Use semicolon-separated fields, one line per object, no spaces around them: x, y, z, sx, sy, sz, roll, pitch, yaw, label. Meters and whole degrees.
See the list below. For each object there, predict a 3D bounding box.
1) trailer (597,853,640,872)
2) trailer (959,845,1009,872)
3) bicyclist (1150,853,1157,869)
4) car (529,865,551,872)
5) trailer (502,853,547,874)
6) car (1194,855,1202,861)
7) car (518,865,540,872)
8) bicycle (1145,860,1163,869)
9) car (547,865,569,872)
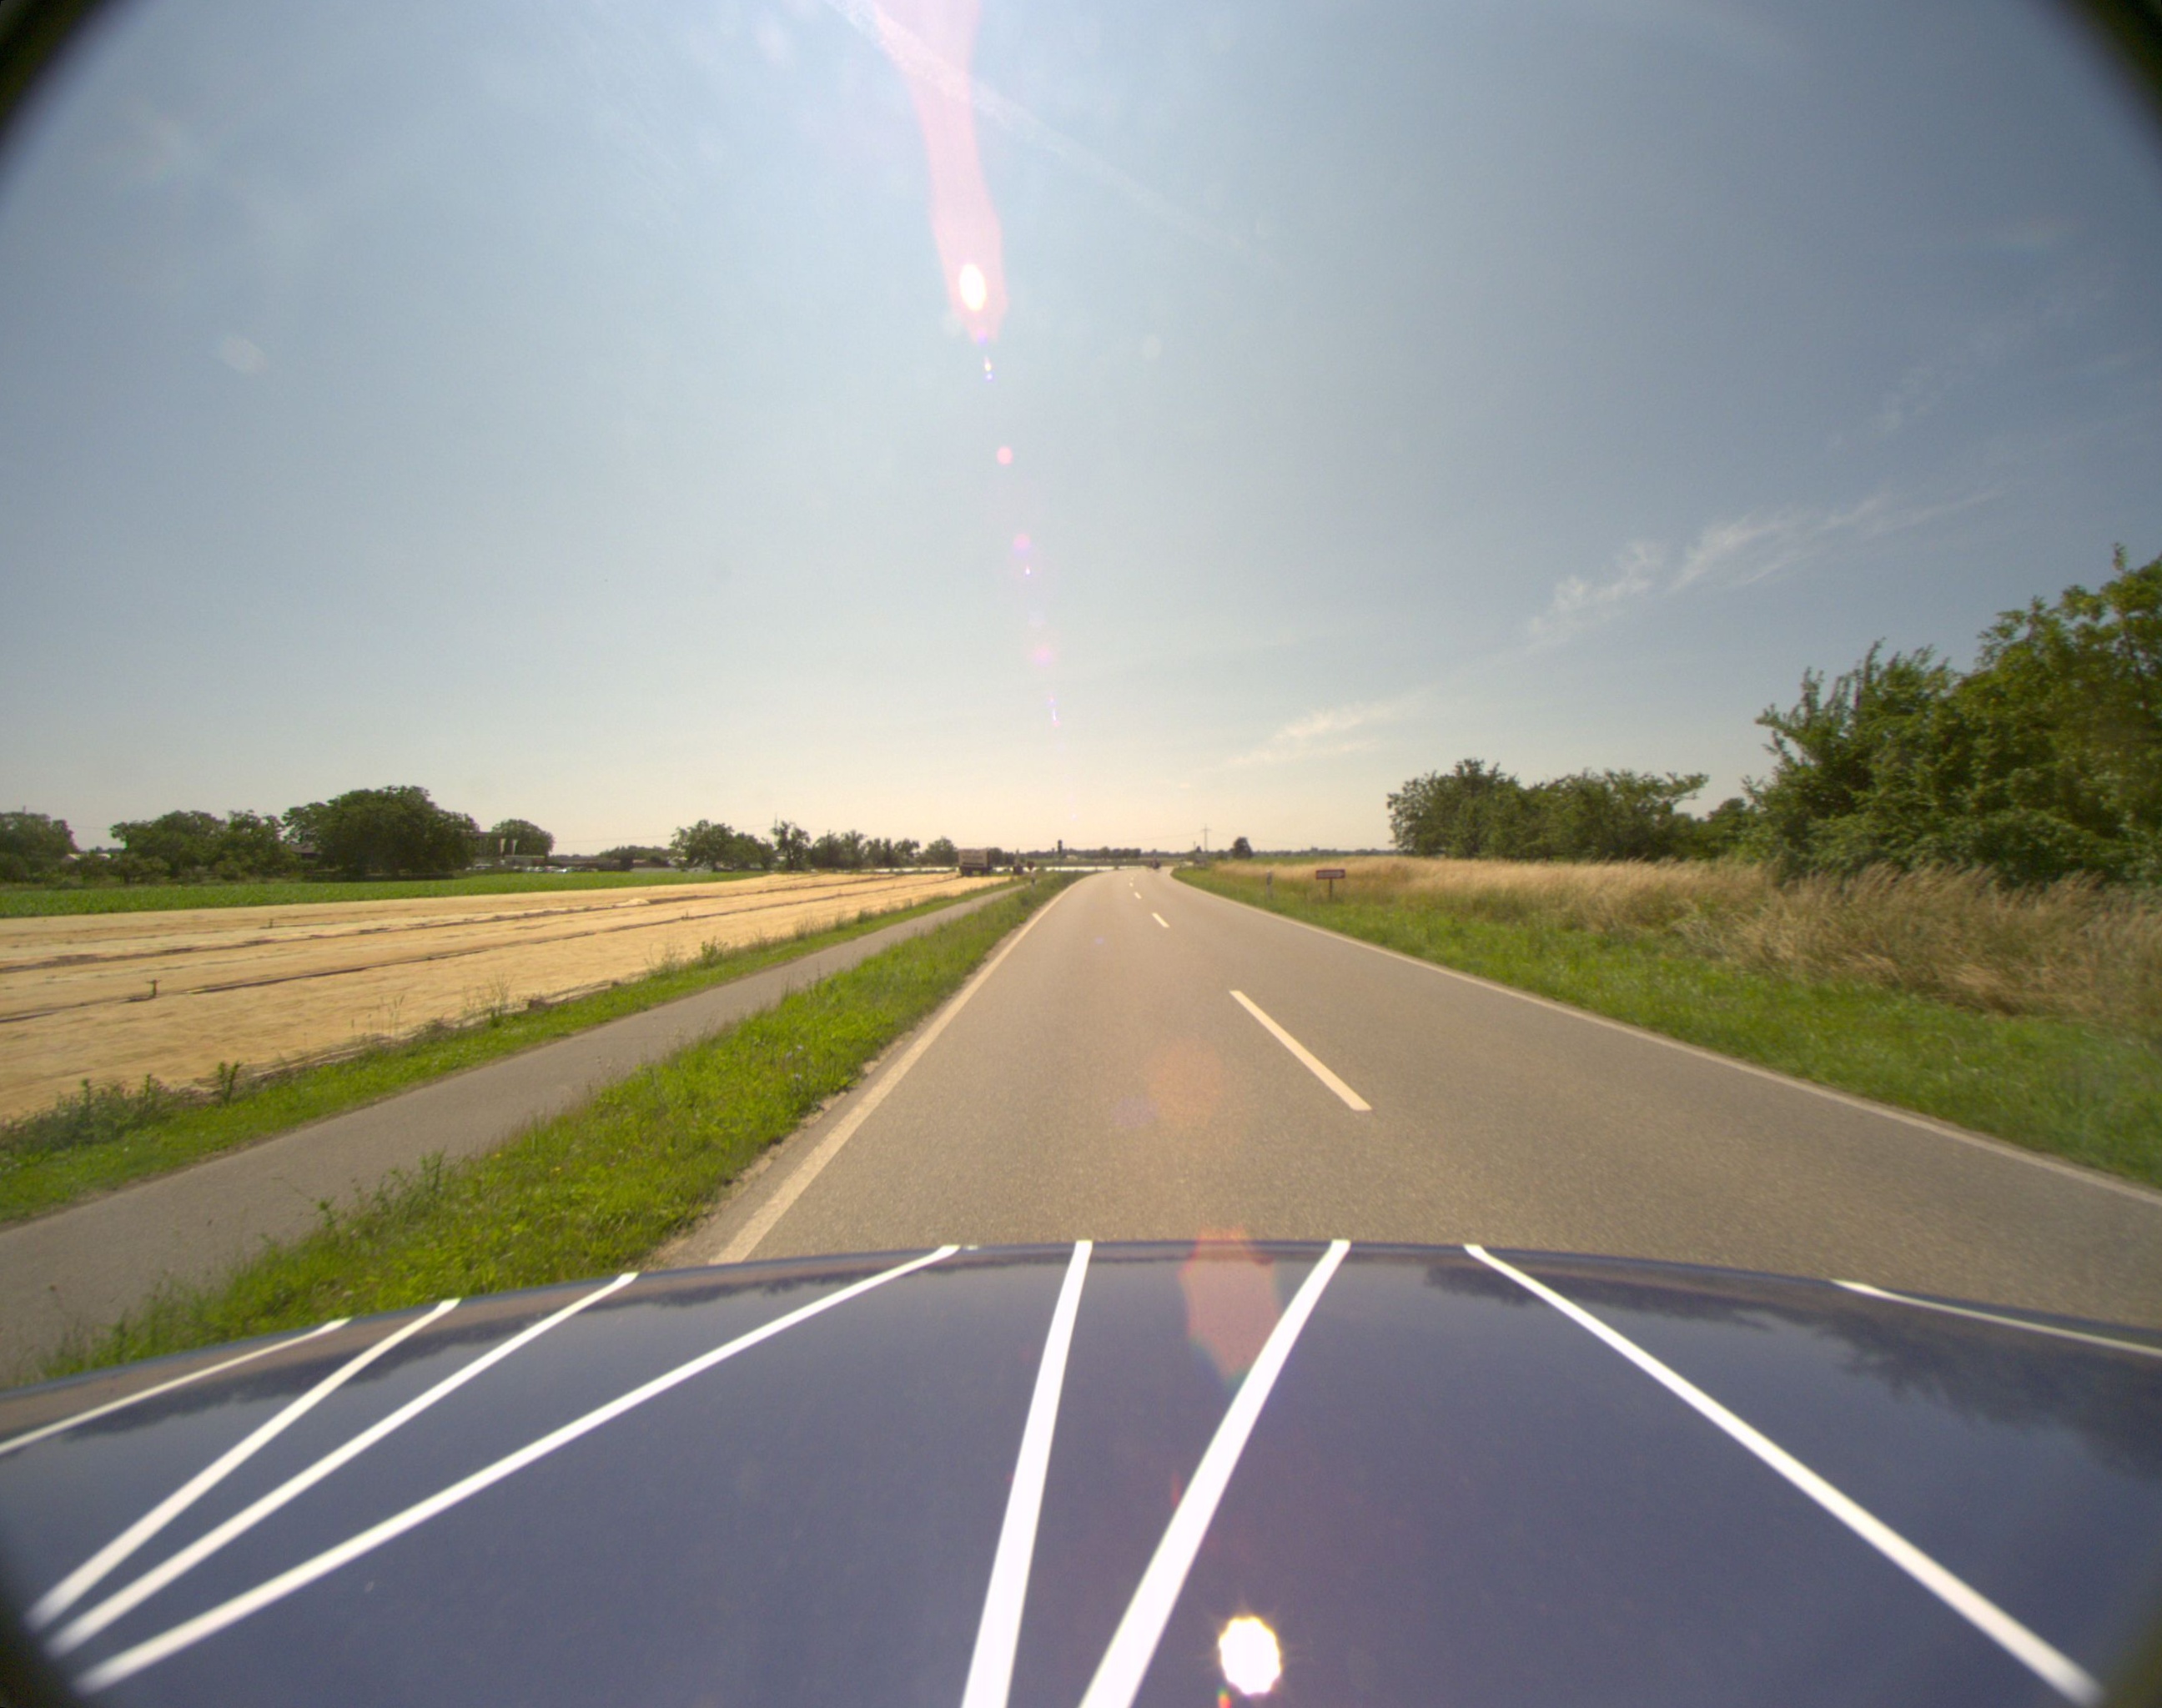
-87.542;1.598;143.785;7.422;3.274;3.265;-1;1;26;trailer
-10.987;0.462;86.369;5.283;2.936;2.002;0;2;20;trailer
8.111;0.789;84.999;0.700;1.747;0.663;-1;1;19;bicyclist
-101.235;2.690;142.168;1.293;1.191;3.284;-1;0;17;car
-113.655;1.952;155.306;7.428;4.197;3.160;-1;1;13;trailer
32.916;1.177;213.880;1.936;1.741;5.208;1;0;11;car
-103.942;2.687;143.169;1.293;1.191;3.284;-1;0;17;car
8.136;1.160;84.998;1.921;0.986;0.683;-1;1;19;bicycle
-95.923;2.701;139.371;1.293;1.191;3.284;-1;0;17;car
